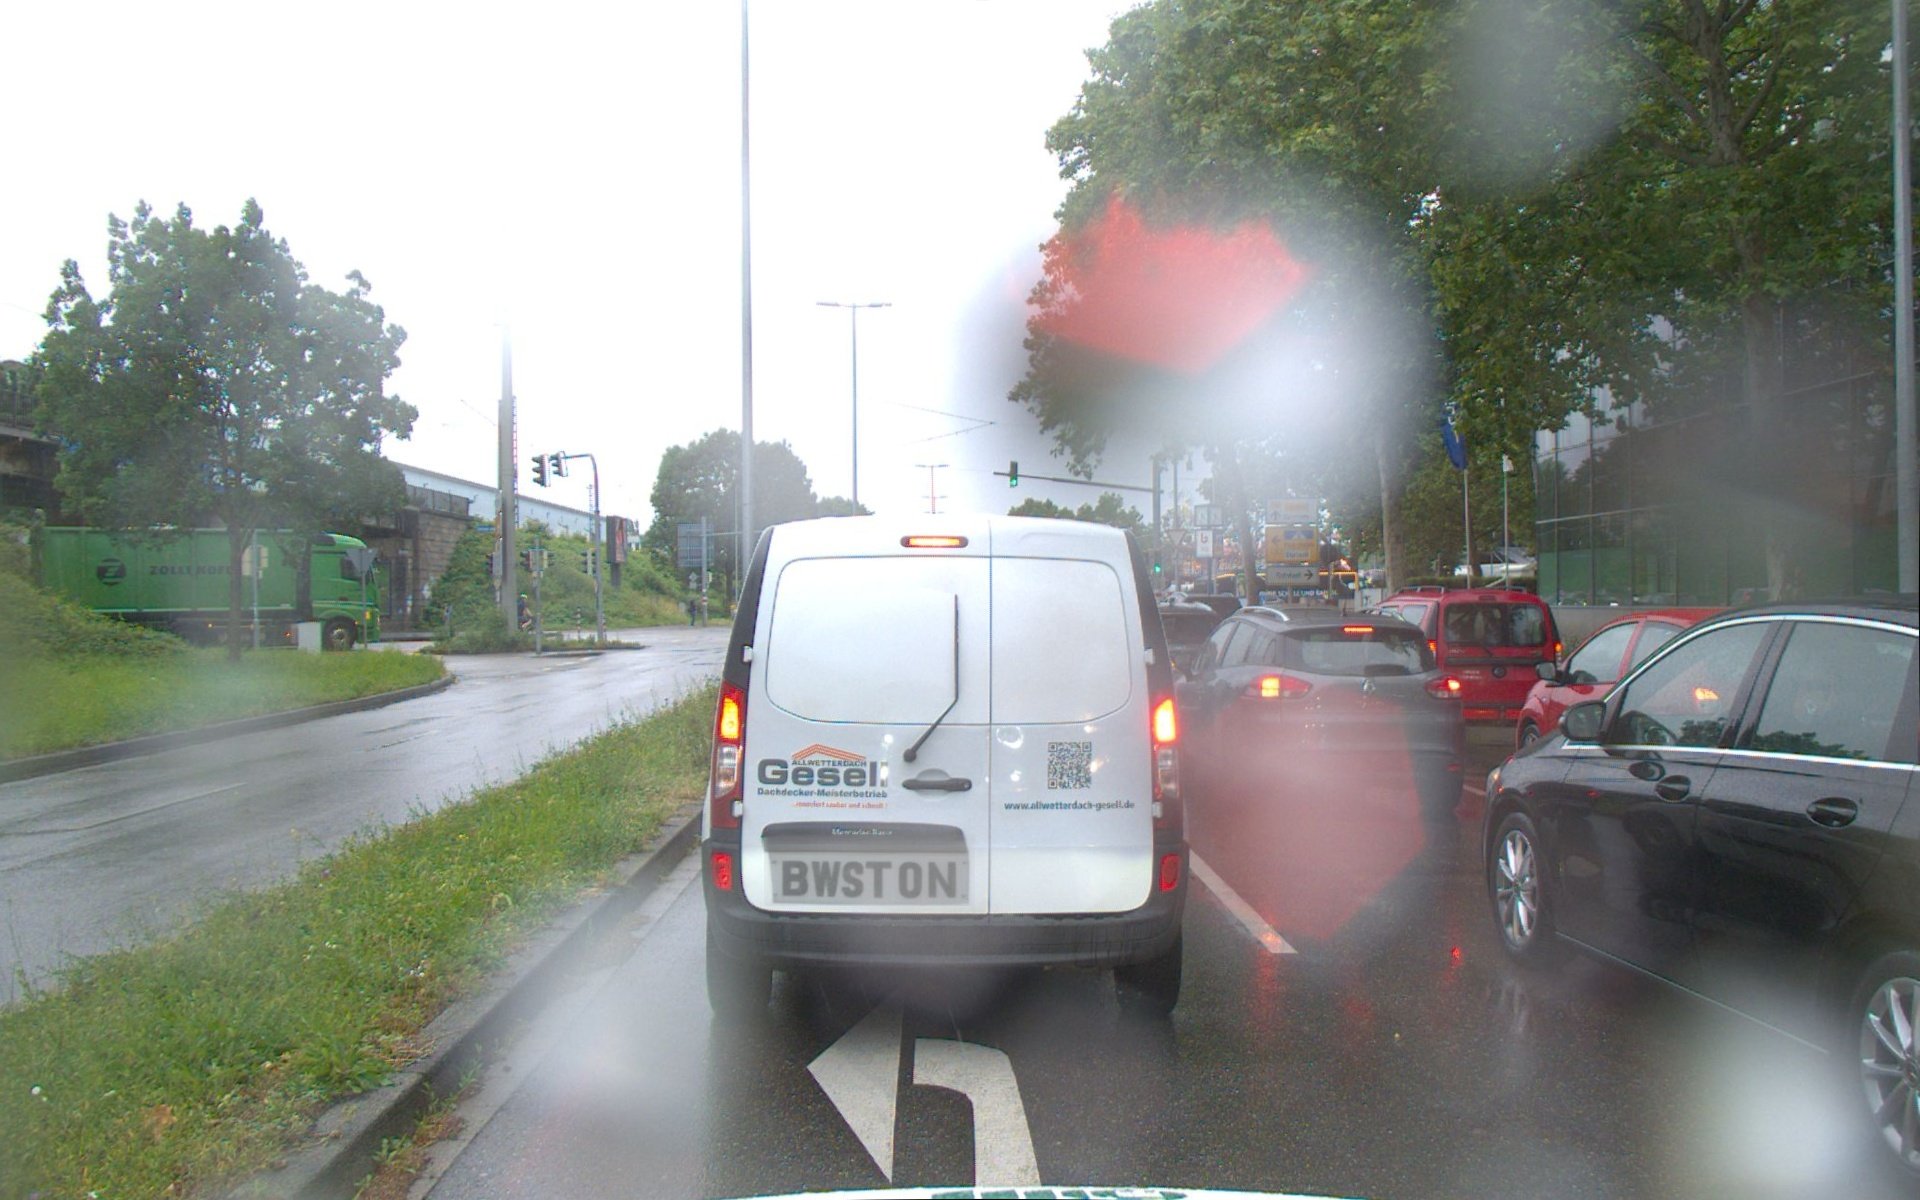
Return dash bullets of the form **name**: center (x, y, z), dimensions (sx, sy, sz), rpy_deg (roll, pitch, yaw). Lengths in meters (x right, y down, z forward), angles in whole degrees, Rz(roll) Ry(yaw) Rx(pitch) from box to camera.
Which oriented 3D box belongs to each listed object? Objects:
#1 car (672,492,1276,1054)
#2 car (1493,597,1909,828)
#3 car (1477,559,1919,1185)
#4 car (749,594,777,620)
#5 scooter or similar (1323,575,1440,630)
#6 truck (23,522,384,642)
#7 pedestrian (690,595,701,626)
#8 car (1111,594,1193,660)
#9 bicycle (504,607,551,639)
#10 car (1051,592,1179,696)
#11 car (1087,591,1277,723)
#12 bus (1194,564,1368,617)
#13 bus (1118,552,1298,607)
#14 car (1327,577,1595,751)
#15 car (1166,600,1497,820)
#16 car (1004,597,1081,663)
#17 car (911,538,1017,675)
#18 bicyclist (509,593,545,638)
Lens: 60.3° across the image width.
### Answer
- **car**: center (0.016, 0.539, 7.637), dimensions (1.953, 1.807, 4.584), rpy_deg (0, 0, -1)
- **car**: center (5.388, 0.734, 12.497), dimensions (1.537, 1.488, 3.388), rpy_deg (0, 0, -2)
- **car**: center (3.249, 0.688, 5.442), dimensions (1.712, 1.582, 4.089), rpy_deg (0, 0, -2)
- **car**: center (-12.611, 0.461, 106.171), dimensions (1.439, 1.586, 3.507), rpy_deg (-1, 1, -1)
- **scooter or similar**: center (19.671, 0.093, 77.355), dimensions (1.878, 2.489, 5.239), rpy_deg (0, 0, -41)
- **truck**: center (-23.210, -0.543, 51.241), dimensions (9.957, 3.430, 2.316), rpy_deg (0, 0, -37)
- **pedestrian**: center (-15.366, 0.615, 96.008), dimensions (0.532, 1.746, 0.563), rpy_deg (1, -1, -5)
- **car**: center (5.092, 0.698, 44.284), dimensions (1.674, 1.678, 3.842), rpy_deg (1, 0, -1)
- **bicycle**: center (-14.480, 0.759, 55.274), dimensions (1.027, 0.968, 2.866), rpy_deg (-1, 1, -25)
- **car**: center (2.617, 0.701, 28.688), dimensions (1.816, 1.678, 3.842), rpy_deg (0, 0, -1)
- **car**: center (2.664, 0.638, 20.658), dimensions (1.816, 1.486, 3.842), rpy_deg (0, 0, -1)
- **bus**: center (22.462, -0.672, 115.829), dimensions (11.748, 3.483, 2.478), rpy_deg (-1, 1, -9)
- **bus**: center (16.597, -1.405, 111.147), dimensions (11.727, 3.483, 2.315), rpy_deg (-1, 1, -1)
- **car**: center (5.516, 0.664, 18.766), dimensions (1.676, 1.724, 4.271), rpy_deg (1, -1, -1)
- **car**: center (2.755, 0.748, 13.103), dimensions (1.649, 1.433, 3.842), rpy_deg (1, 0, -2)
- **car**: center (2.155, 0.769, 44.221), dimensions (1.816, 1.678, 3.842), rpy_deg (0, 0, -1)
- **car**: center (0.046, 0.098, 30.162), dimensions (1.816, 2.336, 3.842), rpy_deg (0, 0, -1)
- **bicyclist**: center (-14.458, 0.503, 55.200), dimensions (1.028, 1.475, 0.723), rpy_deg (-1, 1, -26)
